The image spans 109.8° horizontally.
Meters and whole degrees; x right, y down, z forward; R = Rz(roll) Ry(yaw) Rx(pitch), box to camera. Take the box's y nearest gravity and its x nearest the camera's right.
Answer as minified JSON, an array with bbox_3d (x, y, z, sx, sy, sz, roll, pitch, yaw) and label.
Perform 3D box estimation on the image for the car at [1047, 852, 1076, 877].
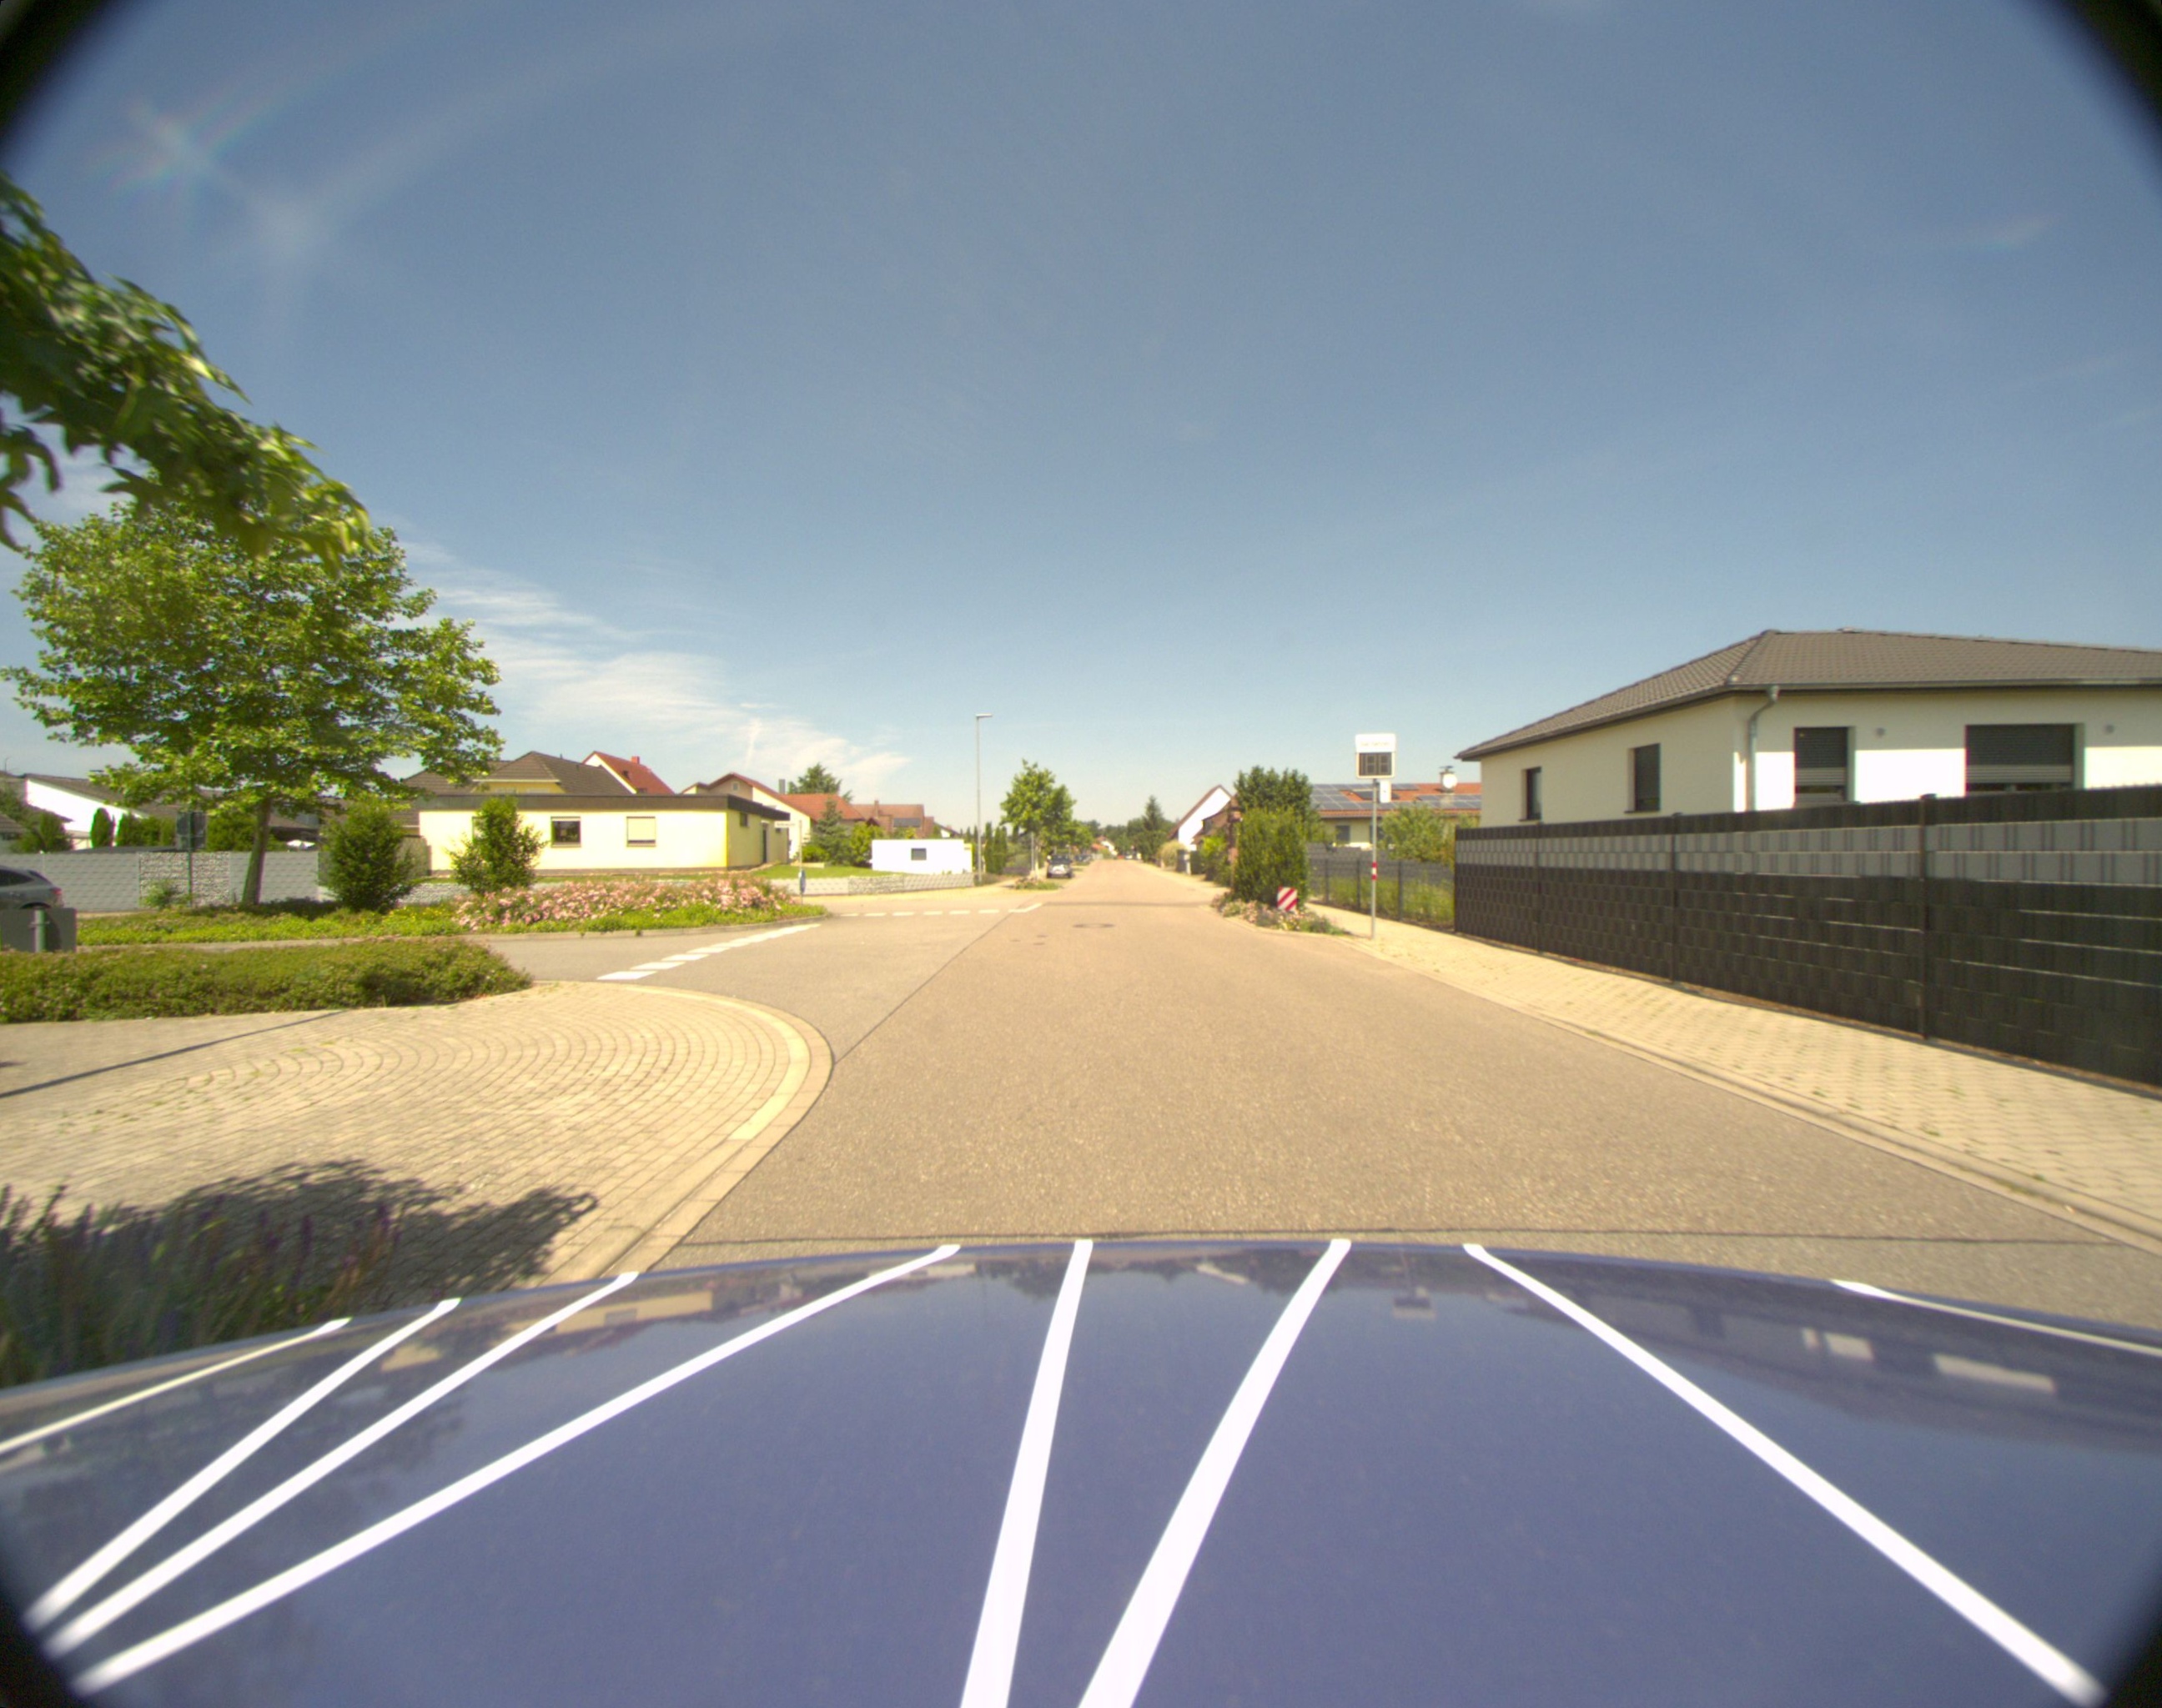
[{"bbox_3d":[-1.300,0.674,51.704,1.597,1.630,3.803,1,1,4],"label":"car"}]

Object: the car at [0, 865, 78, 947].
[{"bbox_3d":[-23.915,1.153,15.398,1.646,1.731,4.448,-1,0,-9],"label":"car"}]
